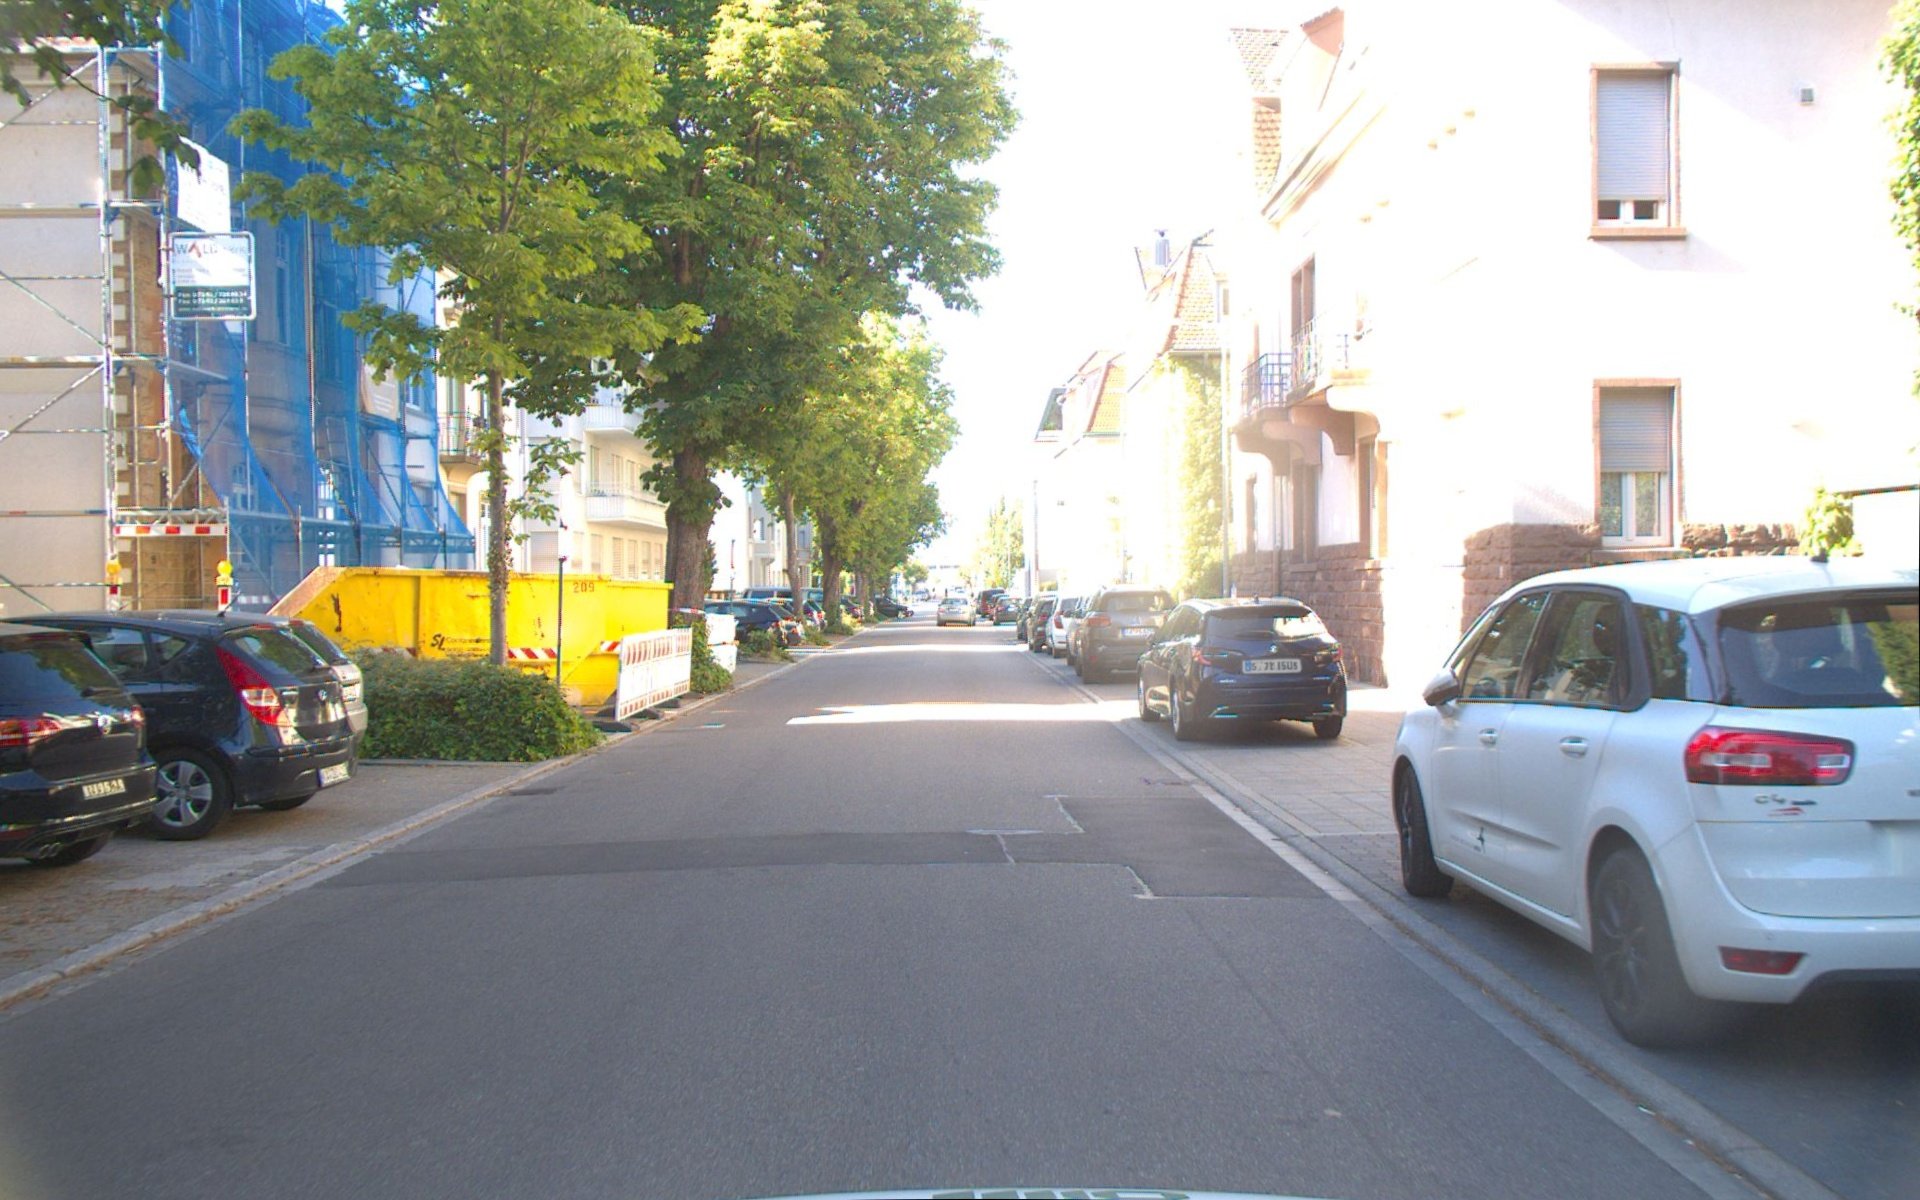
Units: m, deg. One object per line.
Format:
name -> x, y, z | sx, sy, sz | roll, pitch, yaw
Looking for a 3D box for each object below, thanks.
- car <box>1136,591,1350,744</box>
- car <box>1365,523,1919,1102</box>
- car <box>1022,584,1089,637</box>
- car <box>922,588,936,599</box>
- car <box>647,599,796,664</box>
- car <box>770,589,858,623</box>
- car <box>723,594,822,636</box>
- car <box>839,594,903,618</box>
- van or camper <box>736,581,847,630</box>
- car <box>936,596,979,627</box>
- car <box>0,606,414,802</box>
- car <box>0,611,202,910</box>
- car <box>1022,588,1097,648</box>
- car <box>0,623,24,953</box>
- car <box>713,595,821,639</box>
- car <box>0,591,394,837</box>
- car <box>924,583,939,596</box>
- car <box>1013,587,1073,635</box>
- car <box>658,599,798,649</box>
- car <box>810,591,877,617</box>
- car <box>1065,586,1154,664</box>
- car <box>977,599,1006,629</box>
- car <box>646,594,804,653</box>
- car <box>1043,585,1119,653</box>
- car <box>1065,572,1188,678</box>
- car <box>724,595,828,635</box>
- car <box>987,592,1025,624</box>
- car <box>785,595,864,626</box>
car -> 3.012, 0.654, 18.467 | 1.610, 1.479, 4.503 | -1, 0, 0
car -> 3.151, 0.588, 6.941 | 1.829, 1.673, 4.199 | -2, 0, 0
car -> 3.004, 0.337, 52.655 | 1.755, 1.547, 4.365 | -2, -1, -1
car -> -4.621, -0.961, 245.673 | 1.753, 1.559, 3.995 | -1, 0, -6
car -> -6.348, 0.813, 44.098 | 3.800, 1.540, 1.829 | -2, 0, -10
car -> -7.080, 0.287, 80.546 | 4.102, 1.525, 1.861 | -1, 0, -2
car -> -6.895, 0.553, 60.960 | 3.407, 1.483, 1.797 | 1, 0, 0
car -> -5.948, 0.403, 110.829 | 4.102, 1.473, 1.712 | 1, -1, 1
van or camper -> -6.967, 0.216, 68.890 | 4.405, 1.948, 1.964 | -1, 0, -1
car -> -0.101, 0.563, 82.644 | 1.690, 1.445, 3.963 | -1, 0, 6
car -> -6.783, 0.868, 14.337 | 3.477, 1.473, 1.695 | -2, 0, 0
car -> -6.374, 0.864, 9.004 | 3.671, 1.456, 1.646 | -2, 0, -1
car -> 2.705, 0.500, 45.613 | 1.675, 1.461, 4.192 | -3, -1, -1
car -> -6.188, 0.836, 6.467 | 4.055, 1.425, 1.710 | 0, 1, -1
car -> -6.813, 0.592, 58.538 | 3.568, 1.488, 1.710 | 1, 0, 1
car -> -6.108, 0.766, 11.551 | 3.649, 1.490, 1.715 | -2, 1, 0
car -> -4.156, -1.561, 241.166 | 1.836, 1.758, 3.996 | -1, 1, -5
car -> 2.865, 0.411, 58.030 | 1.629, 1.547, 3.998 | -2, -1, -4
car -> -7.122, 0.720, 51.076 | 4.103, 1.466, 1.712 | -1, 0, -2
car -> -7.090, 0.214, 100.727 | 3.941, 1.510, 1.806 | 1, 0, -1
car -> 3.114, 0.514, 34.865 | 1.592, 1.576, 2.869 | 0, -1, -1
car -> 2.153, 0.924, 113.283 | 1.833, 1.938, 5.197 | -2, 0, 1
car -> -6.885, 0.666, 48.483 | 4.505, 1.635, 1.829 | -1, 0, -10
car -> 3.002, 0.479, 41.427 | 1.543, 1.576, 3.468 | -2, -1, -1
car -> 2.891, 0.444, 29.569 | 1.741, 1.726, 4.320 | 1, -1, 0
car -> -7.041, 0.575, 63.674 | 3.843, 1.439, 1.715 | 1, 1, -3
car -> 2.310, 0.397, 83.781 | 1.587, 1.465, 3.933 | -4, 1, -2
car -> -6.975, 0.534, 85.533 | 3.906, 1.494, 1.696 | -1, 0, -1
